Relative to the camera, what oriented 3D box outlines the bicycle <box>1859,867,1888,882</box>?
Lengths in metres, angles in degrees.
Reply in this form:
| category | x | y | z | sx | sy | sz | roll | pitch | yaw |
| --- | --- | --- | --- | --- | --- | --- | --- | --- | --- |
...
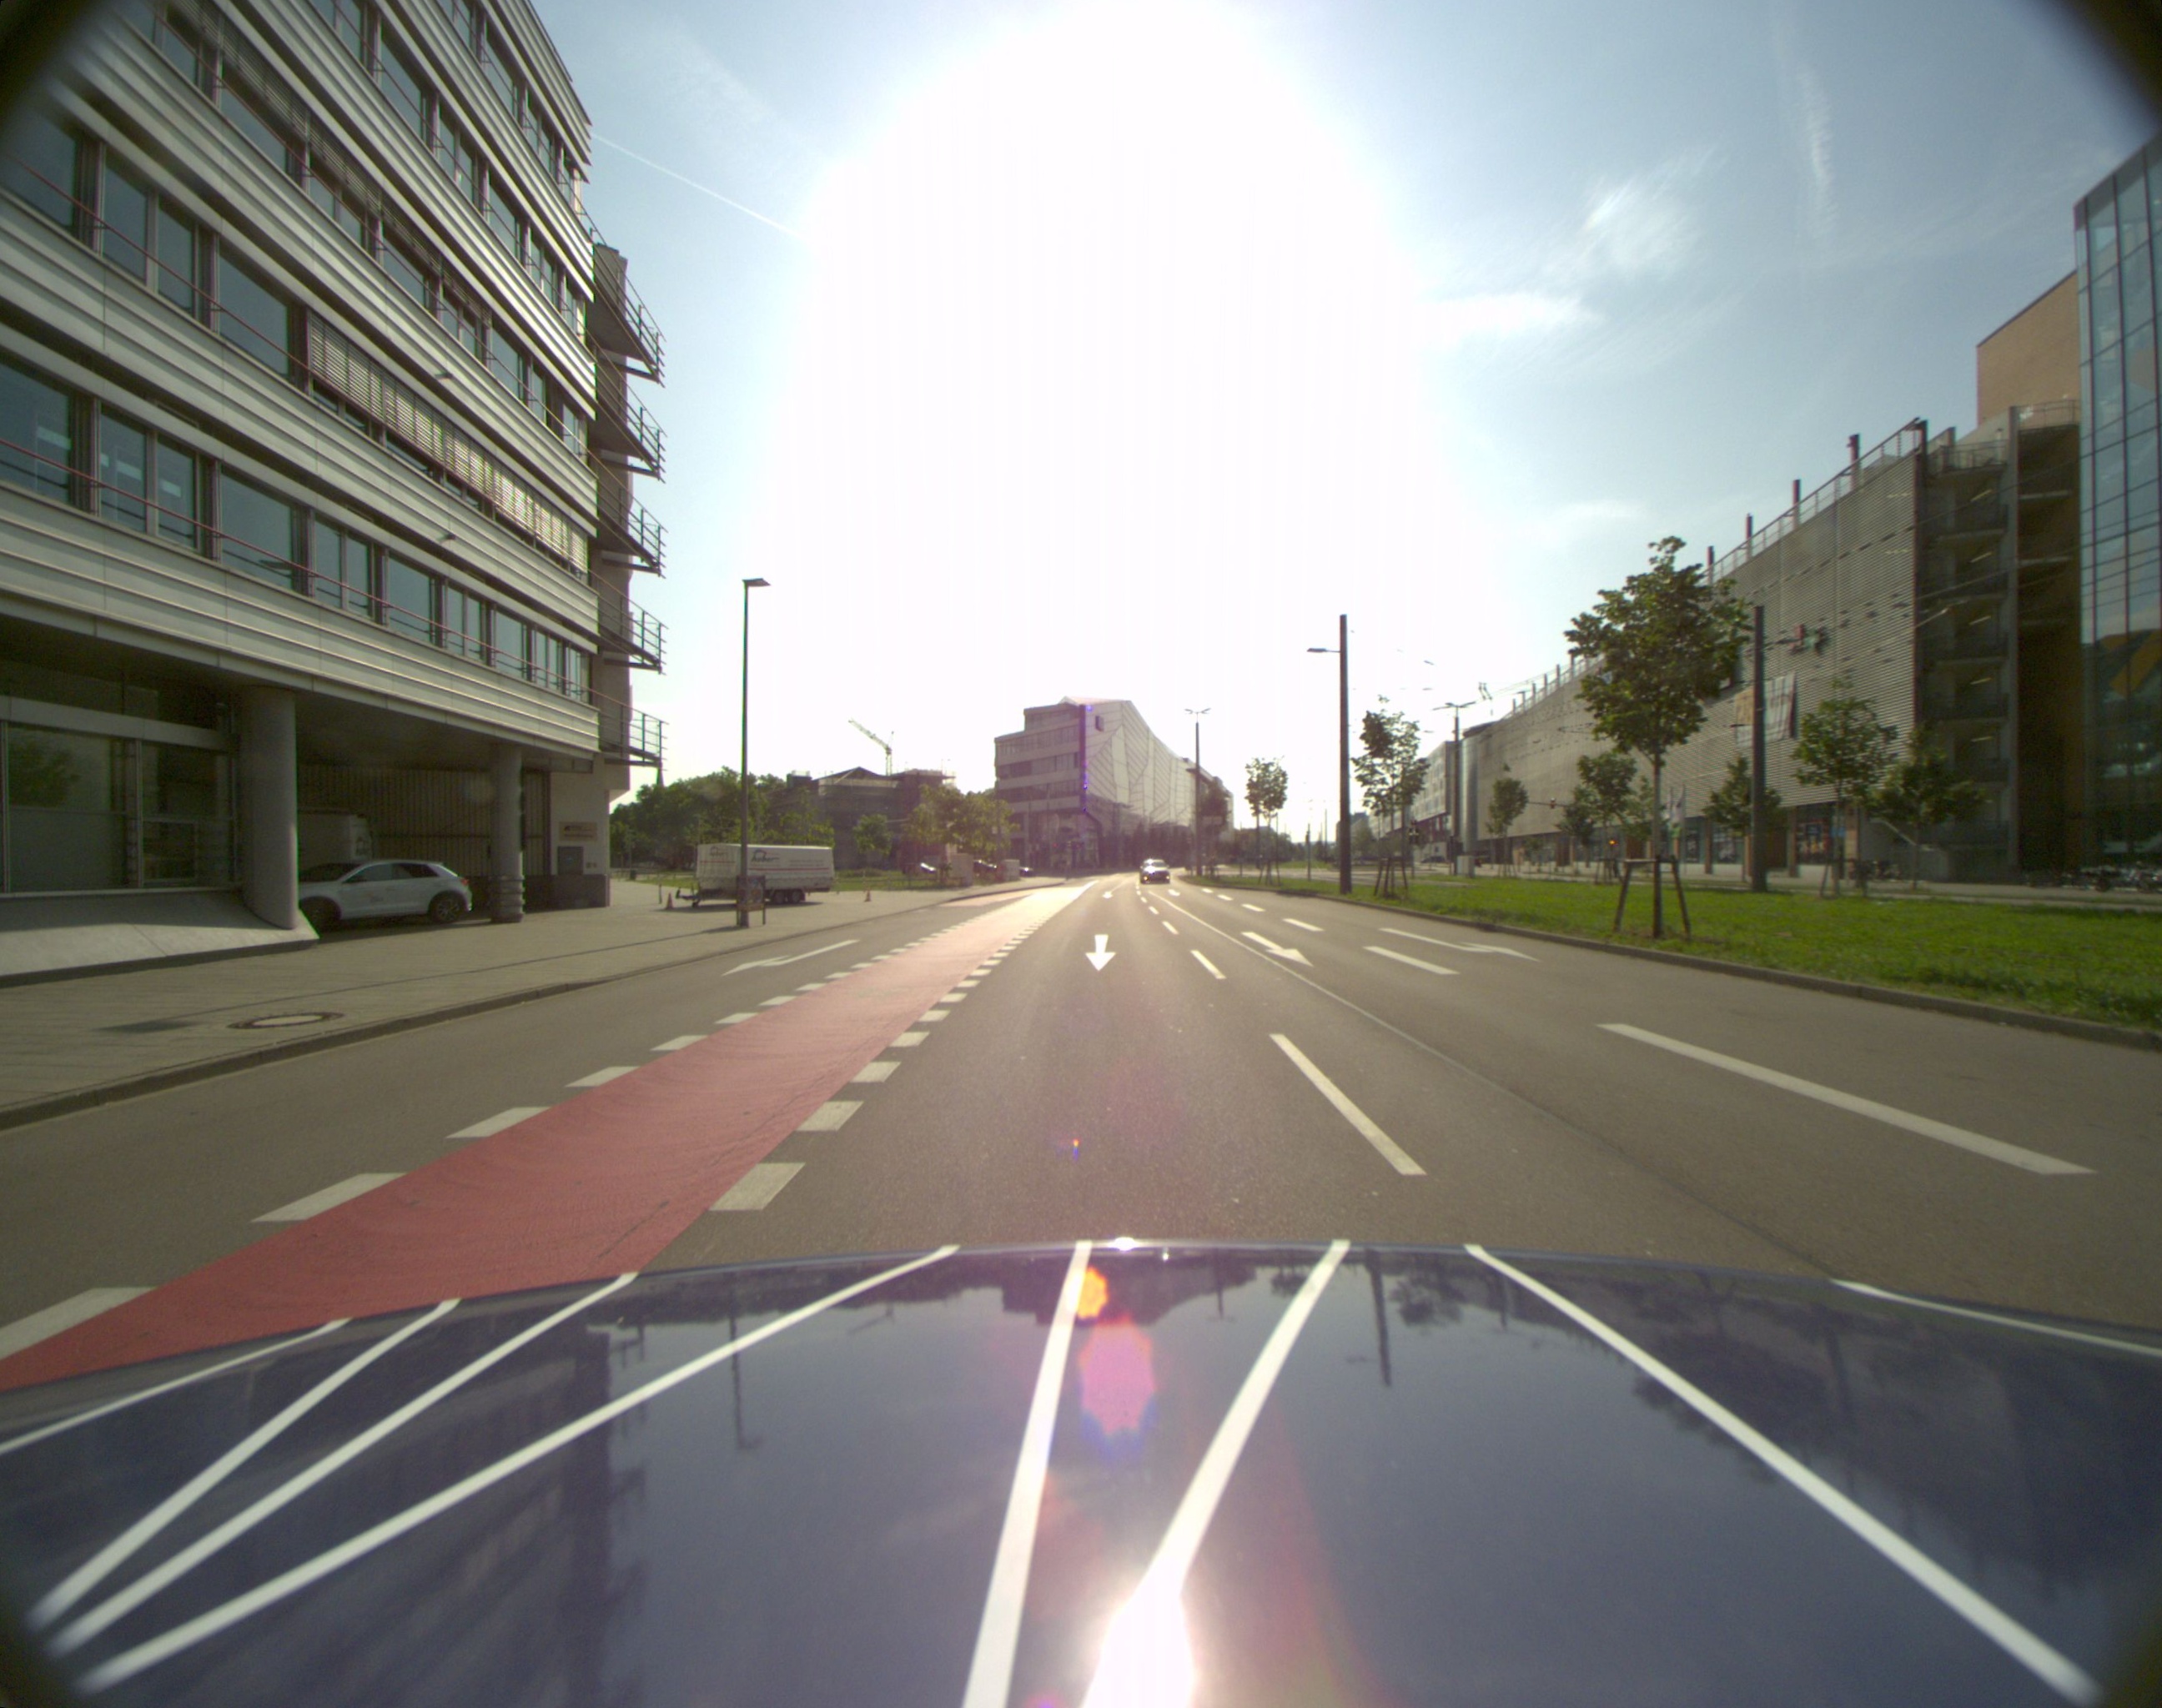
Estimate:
| category | x | y | z | sx | sy | sz | roll | pitch | yaw |
| --- | --- | --- | --- | --- | --- | --- | --- | --- | --- |
| bicycle | 42.143 | 1.086 | 40.404 | 1.022 | 0.747 | 0.361 | -1 | 0 | 17 |

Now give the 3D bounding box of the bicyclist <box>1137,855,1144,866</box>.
| category | x | y | z | sx | sy | sz | roll | pitch | yaw |
| --- | --- | --- | --- | --- | --- | --- | --- | --- | --- |
| bicyclist | 8.129 | 0.877 | 103.489 | 0.781 | 1.577 | 0.933 | 0 | 2 | 22 |

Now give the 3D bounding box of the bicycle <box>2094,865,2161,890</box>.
| category | x | y | z | sx | sy | sz | roll | pitch | yaw |
| --- | --- | --- | --- | --- | --- | --- | --- | --- | --- |
| bicycle | 39.517 | 0.894 | 28.704 | 1.581 | 0.935 | 0.411 | 0 | 0 | 15 |

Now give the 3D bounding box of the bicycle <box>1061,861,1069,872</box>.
| category | x | y | z | sx | sy | sz | roll | pitch | yaw |
| --- | --- | --- | --- | --- | --- | --- | --- | --- | --- |
| bicycle | -1.695 | 1.320 | 81.994 | 0.669 | 1.092 | 1.805 | 0 | 2 | 6 |

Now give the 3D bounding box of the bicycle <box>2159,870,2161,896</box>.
| category | x | y | z | sx | sy | sz | roll | pitch | yaw |
| --- | --- | --- | --- | --- | --- | --- | --- | --- | --- |
| bicycle | 38.970 | 1.017 | 26.571 | 1.581 | 0.935 | 0.411 | 0 | 0 | 15 |

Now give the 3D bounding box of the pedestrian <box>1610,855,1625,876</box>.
| category | x | y | z | sx | sy | sz | roll | pitch | yaw |
| --- | --- | --- | --- | --- | --- | --- | --- | --- | --- |
| pedestrian | 39.656 | 0.826 | 56.152 | 0.762 | 1.570 | 0.590 | 0 | 0 | 12 |

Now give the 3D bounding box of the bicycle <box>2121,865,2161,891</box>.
| category | x | y | z | sx | sy | sz | roll | pitch | yaw |
| --- | --- | --- | --- | --- | --- | --- | --- | --- | --- |
| bicycle | 39.317 | 0.884 | 27.804 | 1.581 | 0.935 | 0.411 | 0 | 0 | 15 |

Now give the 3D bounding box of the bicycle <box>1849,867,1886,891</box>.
| category | x | y | z | sx | sy | sz | roll | pitch | yaw |
| --- | --- | --- | --- | --- | --- | --- | --- | --- | --- |
| bicycle | 36.748 | 1.138 | 35.530 | 0.444 | 0.982 | 2.167 | 1 | 2 | 25 |

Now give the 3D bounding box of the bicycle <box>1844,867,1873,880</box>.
| category | x | y | z | sx | sy | sz | roll | pitch | yaw |
| --- | --- | --- | --- | --- | --- | --- | --- | --- | --- |
| bicycle | 42.498 | 1.067 | 41.543 | 1.004 | 0.747 | 0.453 | -1 | 0 | 17 |

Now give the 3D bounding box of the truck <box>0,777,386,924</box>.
| category | x | y | z | sx | sy | sz | roll | pitch | yaw |
| --- | --- | --- | --- | --- | --- | --- | --- | --- | --- |
| truck | -21.050 | 0.032 | 18.173 | 6.164 | 3.079 | 1.994 | 3 | 0 | -33 |

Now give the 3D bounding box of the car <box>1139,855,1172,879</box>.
| category | x | y | z | sx | sy | sz | roll | pitch | yaw |
| --- | --- | --- | --- | --- | --- | --- | --- | --- | --- |
| car | 4.595 | 0.794 | 47.160 | 1.643 | 1.411 | 3.895 | 0 | 0 | 0 |

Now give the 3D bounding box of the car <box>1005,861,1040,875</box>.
| category | x | y | z | sx | sy | sz | roll | pitch | yaw |
| --- | --- | --- | --- | --- | --- | --- | --- | --- | --- |
| car | -5.900 | 1.403 | 76.566 | 3.156 | 1.335 | 1.591 | 0 | 0 | 35 |

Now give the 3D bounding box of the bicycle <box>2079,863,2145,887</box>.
| category | x | y | z | sx | sy | sz | roll | pitch | yaw |
| --- | --- | --- | --- | --- | --- | --- | --- | --- | --- |
| bicycle | 40.541 | 0.809 | 29.894 | 1.581 | 0.935 | 0.473 | 0 | 0 | 15 |

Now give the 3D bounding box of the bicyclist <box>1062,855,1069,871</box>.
| category | x | y | z | sx | sy | sz | roll | pitch | yaw |
| --- | --- | --- | --- | --- | --- | --- | --- | --- | --- |
| bicyclist | -1.684 | 1.004 | 82.079 | 0.669 | 1.693 | 0.637 | 0 | 2 | 6 |

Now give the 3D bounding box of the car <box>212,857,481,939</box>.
| category | x | y | z | sx | sy | sz | roll | pitch | yaw |
| --- | --- | --- | --- | --- | --- | --- | --- | --- | --- |
| car | -15.930 | 0.890 | 16.817 | 1.747 | 1.580 | 4.004 | 0 | -1 | 10 |

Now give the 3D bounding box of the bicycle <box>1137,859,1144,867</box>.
| category | x | y | z | sx | sy | sz | roll | pitch | yaw |
| --- | --- | --- | --- | --- | --- | --- | --- | --- | --- |
| bicycle | 8.112 | 1.198 | 103.522 | 0.418 | 1.050 | 1.962 | 0 | 2 | 22 |

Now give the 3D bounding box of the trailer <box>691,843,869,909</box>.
| category | x | y | z | sx | sy | sz | roll | pitch | yaw |
| --- | --- | --- | --- | --- | --- | --- | --- | --- | --- |
| trailer | -10.811 | 0.731 | 27.926 | 2.390 | 2.138 | 5.960 | 0 | 0 | 27 |

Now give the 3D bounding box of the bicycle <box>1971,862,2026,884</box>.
| category | x | y | z | sx | sy | sz | roll | pitch | yaw |
| --- | --- | --- | --- | --- | --- | --- | --- | --- | --- |
| bicycle | 40.167 | 0.826 | 33.267 | 1.581 | 0.935 | 0.411 | 0 | 0 | 15 |
